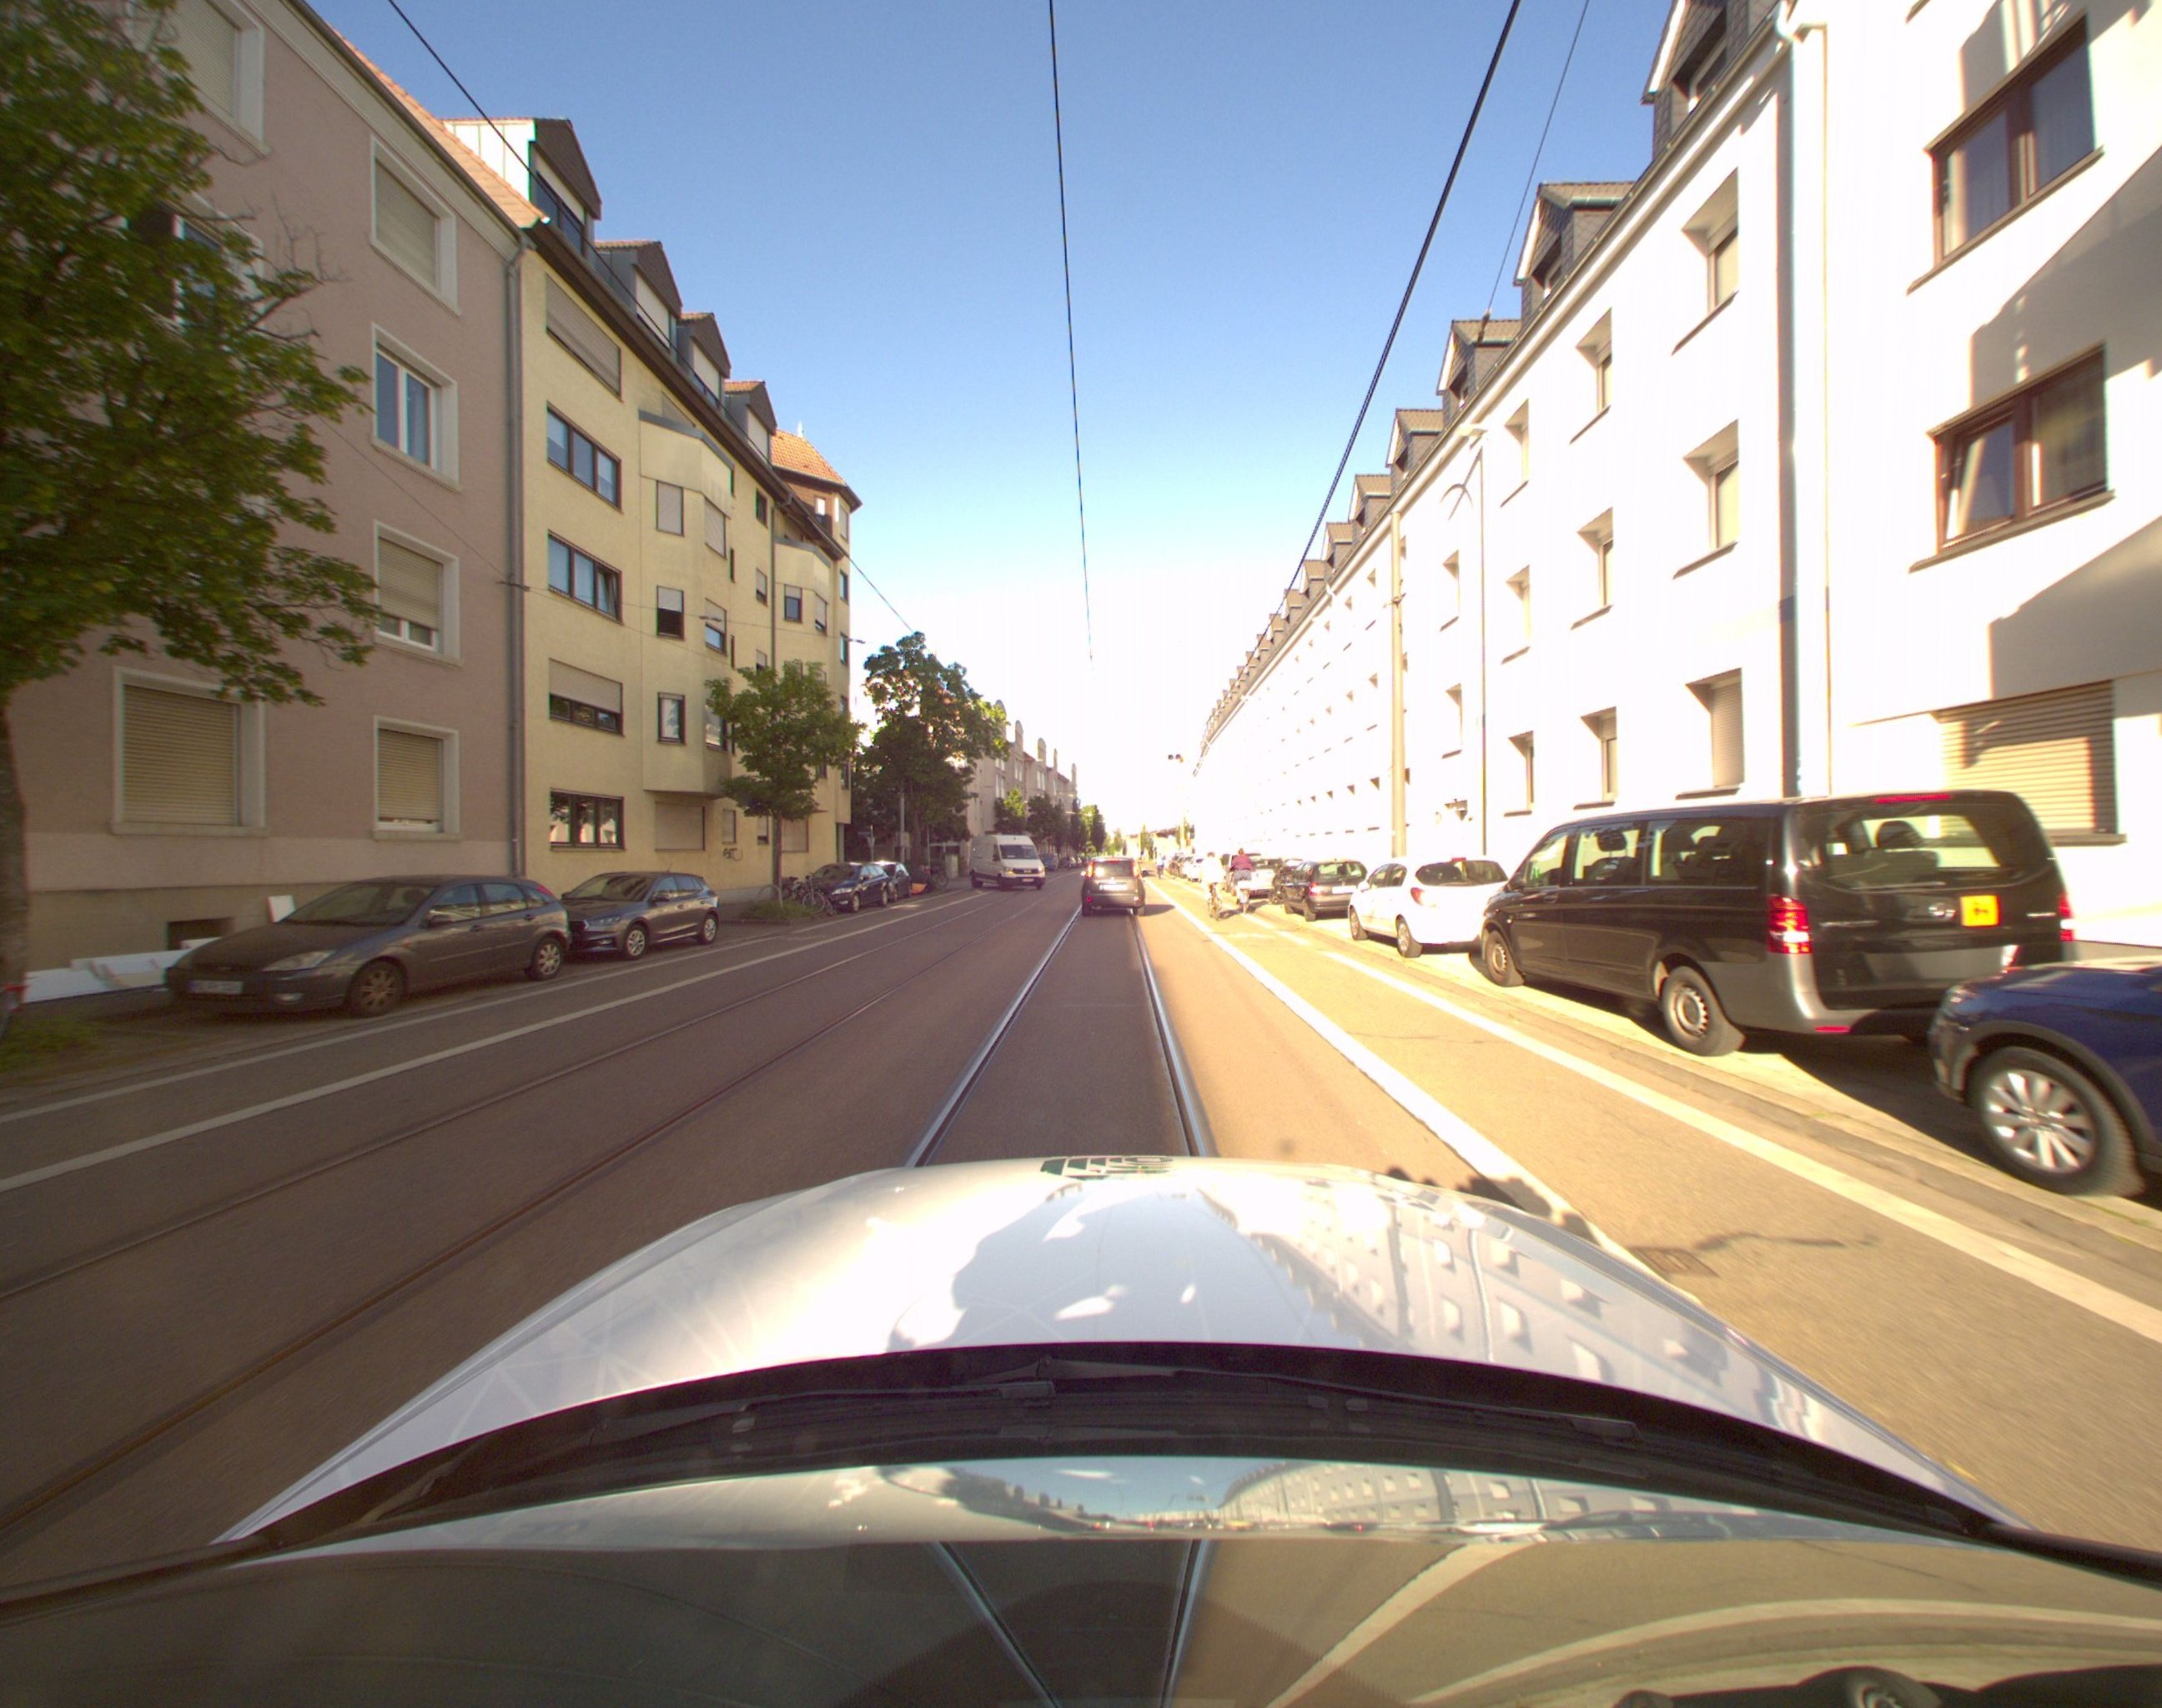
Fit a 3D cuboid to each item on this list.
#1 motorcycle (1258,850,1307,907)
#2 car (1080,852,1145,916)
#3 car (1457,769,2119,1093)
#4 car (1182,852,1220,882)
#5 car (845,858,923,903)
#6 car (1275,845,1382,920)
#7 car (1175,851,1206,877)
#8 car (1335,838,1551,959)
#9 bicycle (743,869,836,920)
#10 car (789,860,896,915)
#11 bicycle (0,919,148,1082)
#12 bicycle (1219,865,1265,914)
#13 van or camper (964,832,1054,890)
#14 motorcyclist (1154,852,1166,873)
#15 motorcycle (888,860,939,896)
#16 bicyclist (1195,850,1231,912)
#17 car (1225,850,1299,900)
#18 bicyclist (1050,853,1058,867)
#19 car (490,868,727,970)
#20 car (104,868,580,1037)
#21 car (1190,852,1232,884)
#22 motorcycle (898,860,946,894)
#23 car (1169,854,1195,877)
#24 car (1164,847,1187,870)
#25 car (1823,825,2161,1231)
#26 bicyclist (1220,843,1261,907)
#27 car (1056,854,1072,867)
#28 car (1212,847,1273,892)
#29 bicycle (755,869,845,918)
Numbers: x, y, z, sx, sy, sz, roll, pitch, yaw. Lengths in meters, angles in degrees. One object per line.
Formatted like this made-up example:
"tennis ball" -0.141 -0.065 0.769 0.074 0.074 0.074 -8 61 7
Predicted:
"motorcycle" 5.748 0.668 23.401 0.802 1.521 2.709 -1 0 2
"car" 0.896 0.737 21.506 1.549 1.533 3.491 -1 0 4
"car" 5.493 0.478 7.518 1.921 1.921 5.009 -3 0 4
"car" 6.898 0.698 47.168 1.673 1.571 4.512 -3 0 2
"car" -7.474 0.969 31.306 1.728 1.542 4.133 -1 0 4
"car" 5.869 0.623 19.741 1.601 1.571 3.908 -3 0 4
"car" 7.331 0.671 54.778 1.747 1.571 3.908 -4 0 4
"car" 5.568 0.612 13.120 1.794 1.571 3.905 -3 0 2
"bicycle" -8.051 1.112 22.541 2.283 1.334 0.700 -1 0 2
"car" -7.505 0.986 26.142 1.757 1.542 4.738 -1 0 4
"bicycle" -8.804 1.096 6.369 2.104 1.105 0.746 2 0 0
"bicycle" 4.367 0.934 22.265 0.817 1.237 2.463 0 0 2
"van or camper" -3.602 0.313 39.077 2.380 2.553 6.783 -1 0 -22
"motorcyclist" 5.280 0.563 54.682 0.725 1.405 1.021 -1 0 2
"motorcycle" -7.022 1.012 34.249 1.965 1.447 0.835 -1 0 -5
"bicyclist" 3.259 0.652 20.140 0.725 1.462 1.021 -1 0 2
"car" 6.259 0.672 28.617 1.855 1.555 4.371 -3 0 4
"bicyclist" -2.774 0.649 83.687 0.620 1.380 0.868 -5 0 2
"car" -8.225 1.046 14.676 1.758 1.473 4.043 2 0 2
"car" -8.314 0.969 9.830 1.758 1.473 4.184 2 0 3
"car" 6.783 0.687 42.838 1.508 1.430 4.203 -7 0 2
"motorcycle" -6.954 0.991 35.626 1.965 1.447 0.719 -1 0 -5
"car" 7.357 0.832 59.402 1.584 1.537 4.012 -3 0 4
"car" 8.688 0.379 75.053 1.779 1.970 4.159 -3 0 4
"car" 5.002 0.667 2.549 1.602 1.571 4.222 -3 0 3
"bicyclist" 4.359 0.562 22.284 0.931 1.676 0.970 -1 0 1
"car" -2.154 0.848 103.384 1.657 1.618 4.005 -1 0 4
"car" 6.707 0.605 34.269 1.748 1.665 4.629 -3 0 2
"bicycle" -8.010 1.117 23.273 2.283 1.334 0.700 -1 0 2
